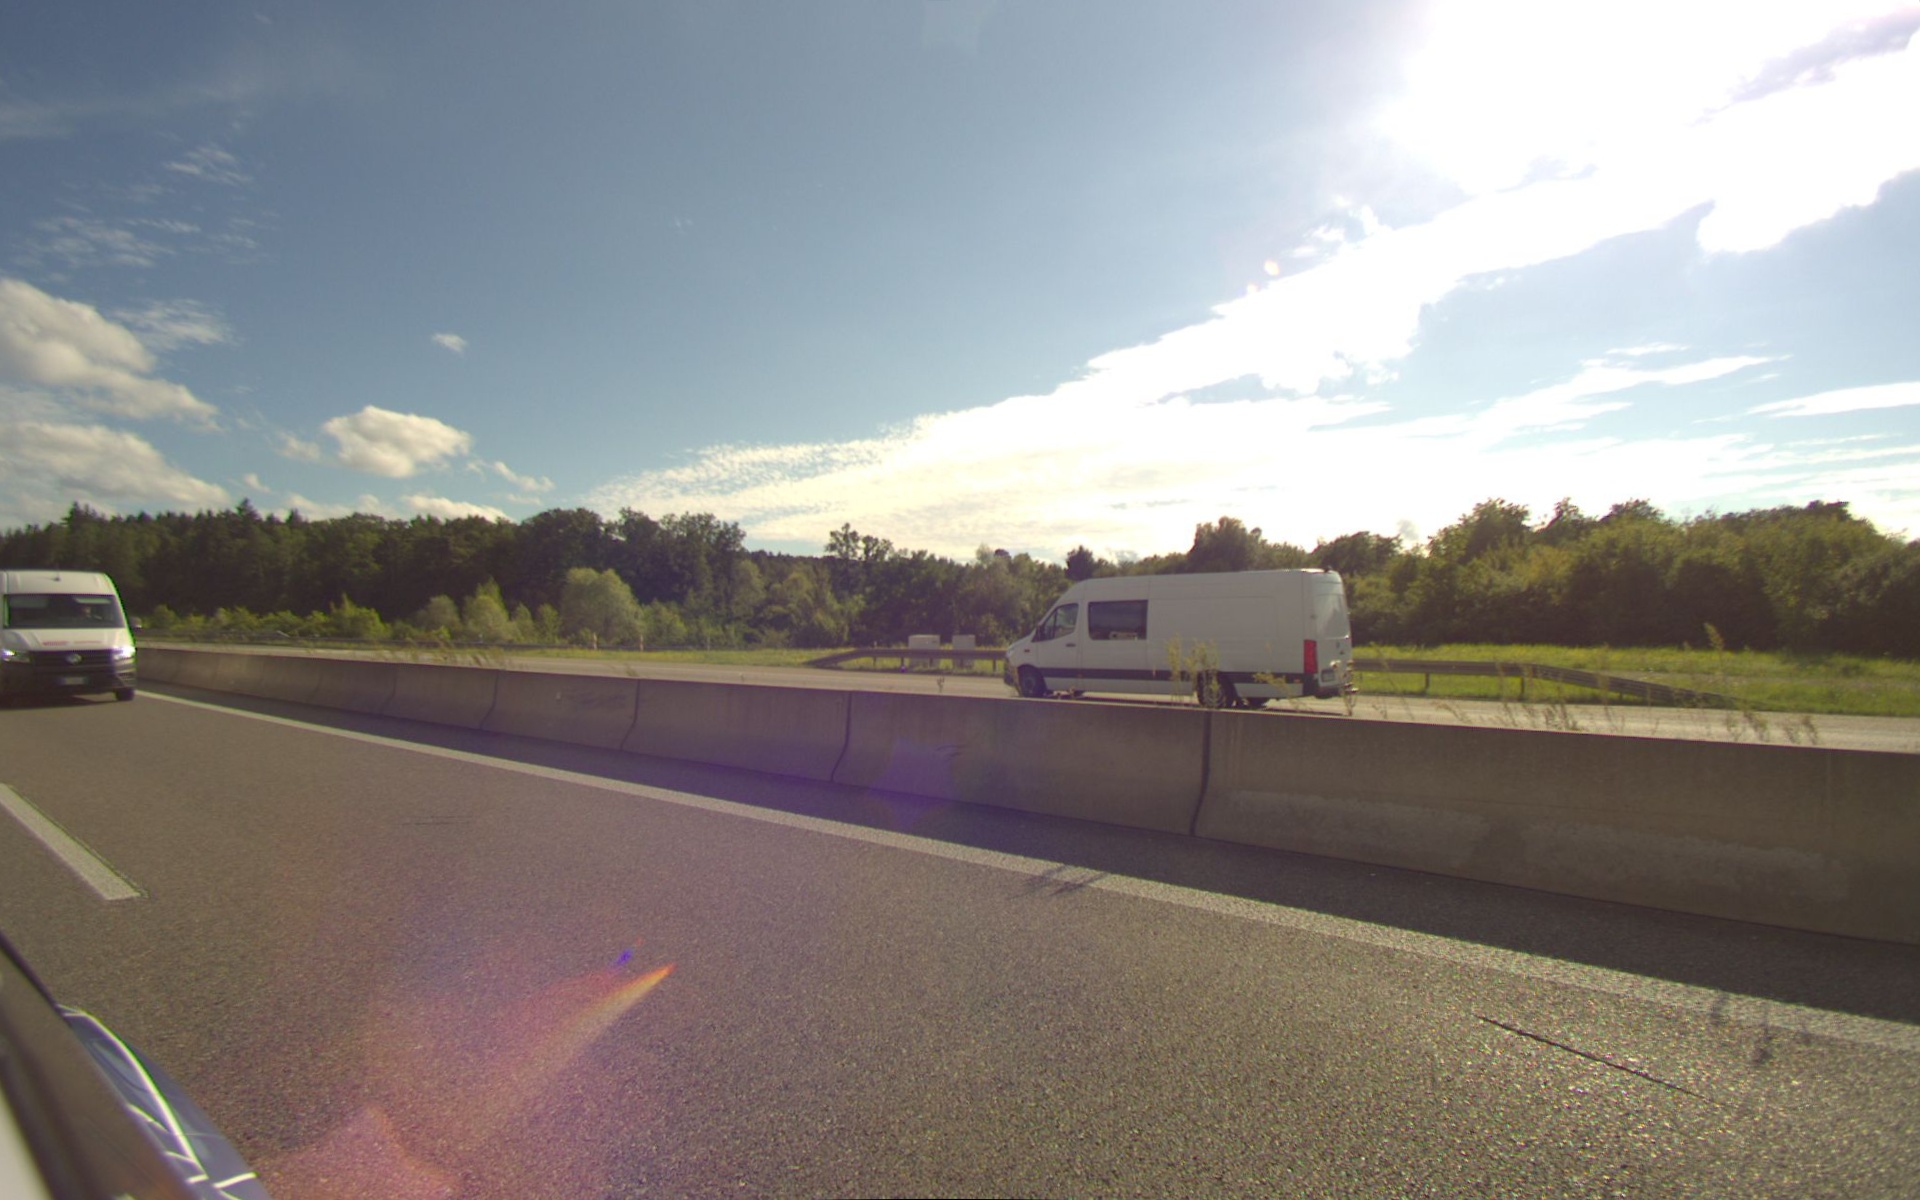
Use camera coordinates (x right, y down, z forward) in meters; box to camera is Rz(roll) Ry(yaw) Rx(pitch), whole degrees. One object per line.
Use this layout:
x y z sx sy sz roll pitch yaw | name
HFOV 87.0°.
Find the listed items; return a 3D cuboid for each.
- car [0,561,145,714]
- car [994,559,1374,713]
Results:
-18.174 0.703 20.100 6.178 2.619 1.994 -1 -2 41 | car
4.159 0.639 20.212 7.317 2.598 2.012 -1 0 41 | car
